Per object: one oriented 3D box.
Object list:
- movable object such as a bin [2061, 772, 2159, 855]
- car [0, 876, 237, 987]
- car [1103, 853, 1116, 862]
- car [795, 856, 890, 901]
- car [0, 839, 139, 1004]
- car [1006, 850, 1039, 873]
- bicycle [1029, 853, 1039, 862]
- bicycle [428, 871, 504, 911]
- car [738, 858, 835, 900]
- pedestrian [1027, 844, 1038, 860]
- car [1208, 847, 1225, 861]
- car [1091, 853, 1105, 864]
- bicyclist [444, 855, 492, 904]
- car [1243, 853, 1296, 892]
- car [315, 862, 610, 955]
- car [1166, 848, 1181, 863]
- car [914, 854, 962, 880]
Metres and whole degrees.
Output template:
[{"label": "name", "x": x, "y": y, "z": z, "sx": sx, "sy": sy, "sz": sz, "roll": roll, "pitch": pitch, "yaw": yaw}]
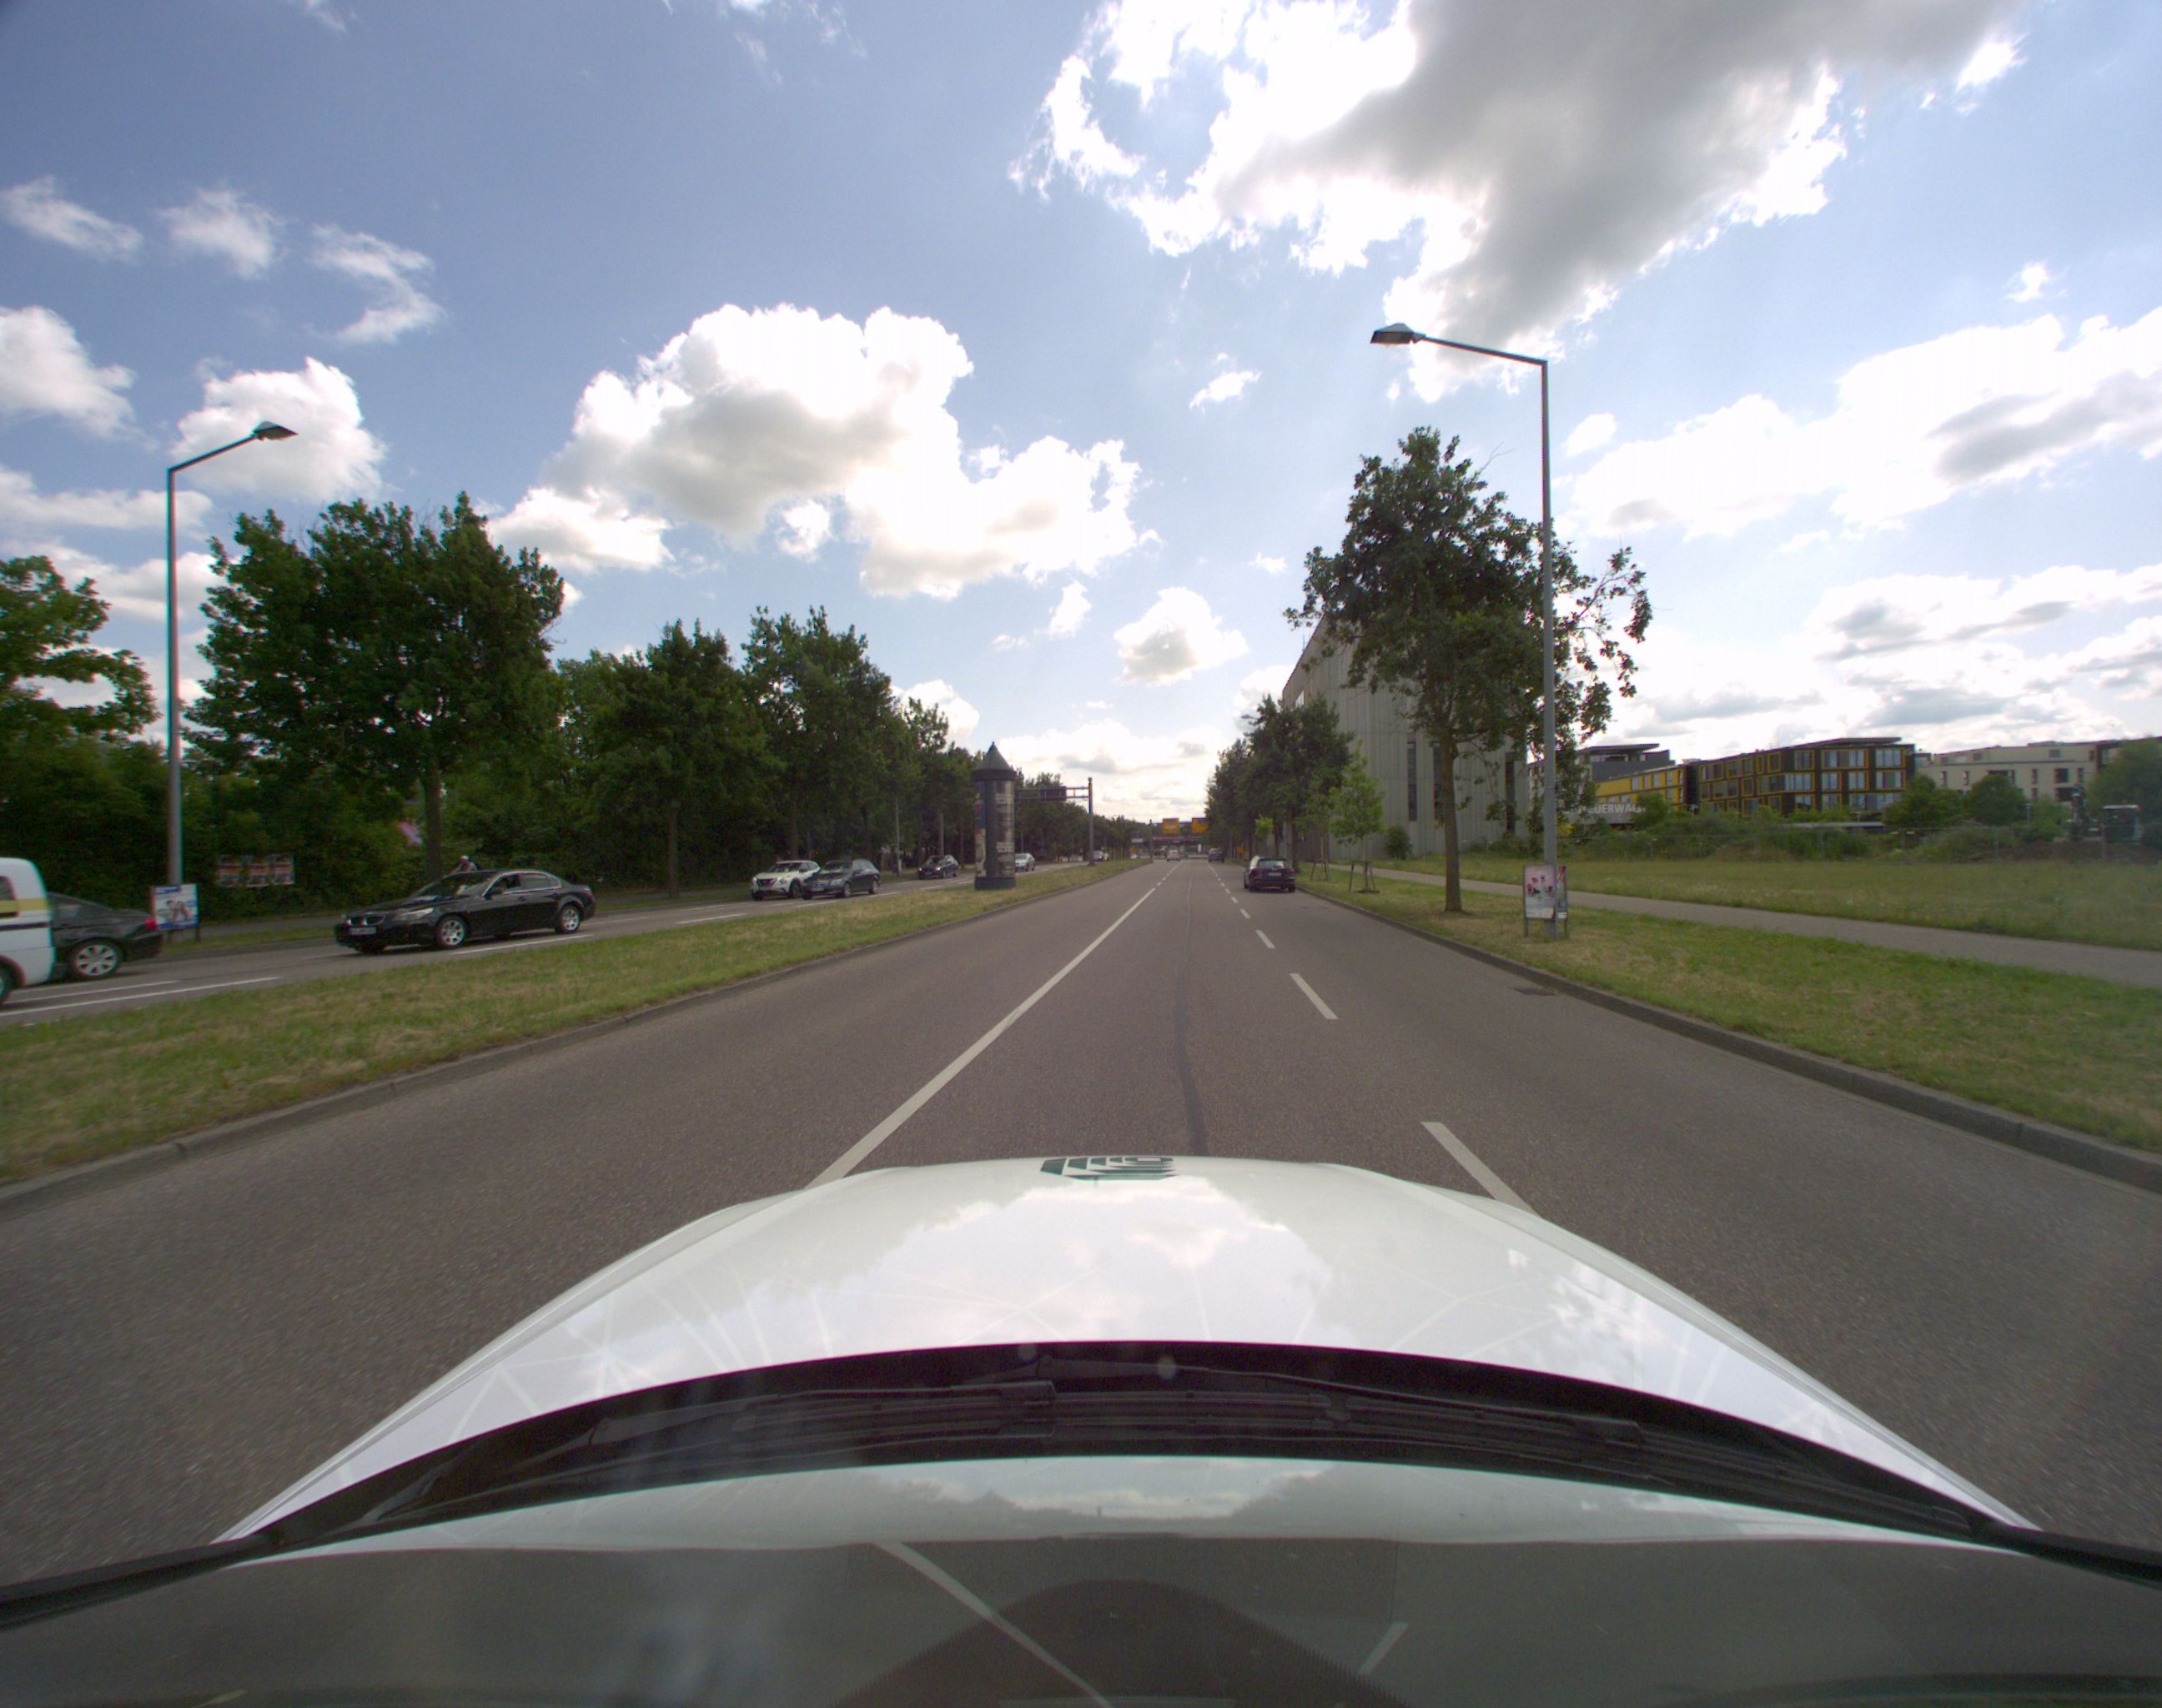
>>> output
[{"label": "movable object such as a bin", "x": 54.565, "y": -1.967, "z": 43.309, "sx": 7.654, "sy": 3.853, "sz": 3.014, "roll": 2, "pitch": -1, "yaw": -39}, {"label": "car", "x": -15.579, "y": 1.135, "z": 11.711, "sx": 1.825, "sy": 1.443, "sz": 4.434, "roll": -3, "pitch": -1, "yaw": 12}, {"label": "car", "x": 5.075, "y": 0.588, "z": 142.830, "sx": 1.731, "sy": 1.545, "sz": 4.584, "roll": -2, "pitch": 0, "yaw": 8}, {"label": "car", "x": -9.447, "y": 0.919, "z": 32.724, "sx": 1.713, "sy": 1.591, "sz": 5.024, "roll": -2, "pitch": 0, "yaw": 8}, {"label": "car", "x": -12.922, "y": 0.775, "z": 7.816, "sx": 1.827, "sy": 1.799, "sz": 4.798, "roll": -3, "pitch": -1, "yaw": 8}, {"label": "car", "x": -4.733, "y": 0.615, "z": 65.878, "sx": 1.753, "sy": 1.441, "sz": 4.317, "roll": -2, "pitch": -6, "yaw": 8}, {"label": "bicycle", "x": -6.507, "y": 0.441, "z": 112.794, "sx": 0.803, "sy": 1.226, "sz": 2.508, "roll": 0, "pitch": 0, "yaw": 9}, {"label": "bicycle", "x": -20.129, "y": 1.192, "z": 26.705, "sx": 0.756, "sy": 1.219, "sz": 2.021, "roll": 1, "pitch": 0, "yaw": 8}, {"label": "car", "x": -12.148, "y": 1.002, "z": 33.900, "sx": 1.899, "sy": 1.540, "sz": 4.378, "roll": -2, "pitch": 0, "yaw": 8}, {"label": "pedestrian", "x": -6.695, "y": -0.266, "z": 112.575, "sx": 0.964, "sy": 2.013, "sz": 1.252, "roll": -11, "pitch": -2, "yaw": 10}, {"label": "car", "x": 15.918, "y": -0.006, "z": 95.688, "sx": 1.982, "sy": 1.626, "sz": 4.321, "roll": -1, "pitch": 0, "yaw": 9}, {"label": "car", "x": 2.542, "y": 0.683, "z": 119.829, "sx": 1.733, "sy": 1.569, "sz": 4.281, "roll": -2, "pitch": 0, "yaw": 5}, {"label": "bicyclist", "x": -20.111, "y": 0.828, "z": 26.740, "sx": 0.825, "sy": 1.565, "sz": 0.885, "roll": 1, "pitch": 0, "yaw": 7}, {"label": "car", "x": 7.585, "y": 0.702, "z": 33.100, "sx": 1.675, "sy": 1.463, "sz": 4.008, "roll": 0, "pitch": 0, "yaw": 7}, {"label": "car", "x": -12.054, "y": 0.970, "z": 16.406, "sx": 1.827, "sy": 1.480, "sz": 4.764, "roll": -3, "pitch": -1, "yaw": 8}, {"label": "car", "x": 12.413, "y": 0.185, "z": 109.513, "sx": 1.984, "sy": 2.013, "sz": 4.006, "roll": 0, "pitch": 0, "yaw": 5}, {"label": "car", "x": -9.651, "y": 0.832, "z": 55.430, "sx": 1.753, "sy": 1.577, "sz": 5.042, "roll": -2, "pitch": 0, "yaw": 7}]
